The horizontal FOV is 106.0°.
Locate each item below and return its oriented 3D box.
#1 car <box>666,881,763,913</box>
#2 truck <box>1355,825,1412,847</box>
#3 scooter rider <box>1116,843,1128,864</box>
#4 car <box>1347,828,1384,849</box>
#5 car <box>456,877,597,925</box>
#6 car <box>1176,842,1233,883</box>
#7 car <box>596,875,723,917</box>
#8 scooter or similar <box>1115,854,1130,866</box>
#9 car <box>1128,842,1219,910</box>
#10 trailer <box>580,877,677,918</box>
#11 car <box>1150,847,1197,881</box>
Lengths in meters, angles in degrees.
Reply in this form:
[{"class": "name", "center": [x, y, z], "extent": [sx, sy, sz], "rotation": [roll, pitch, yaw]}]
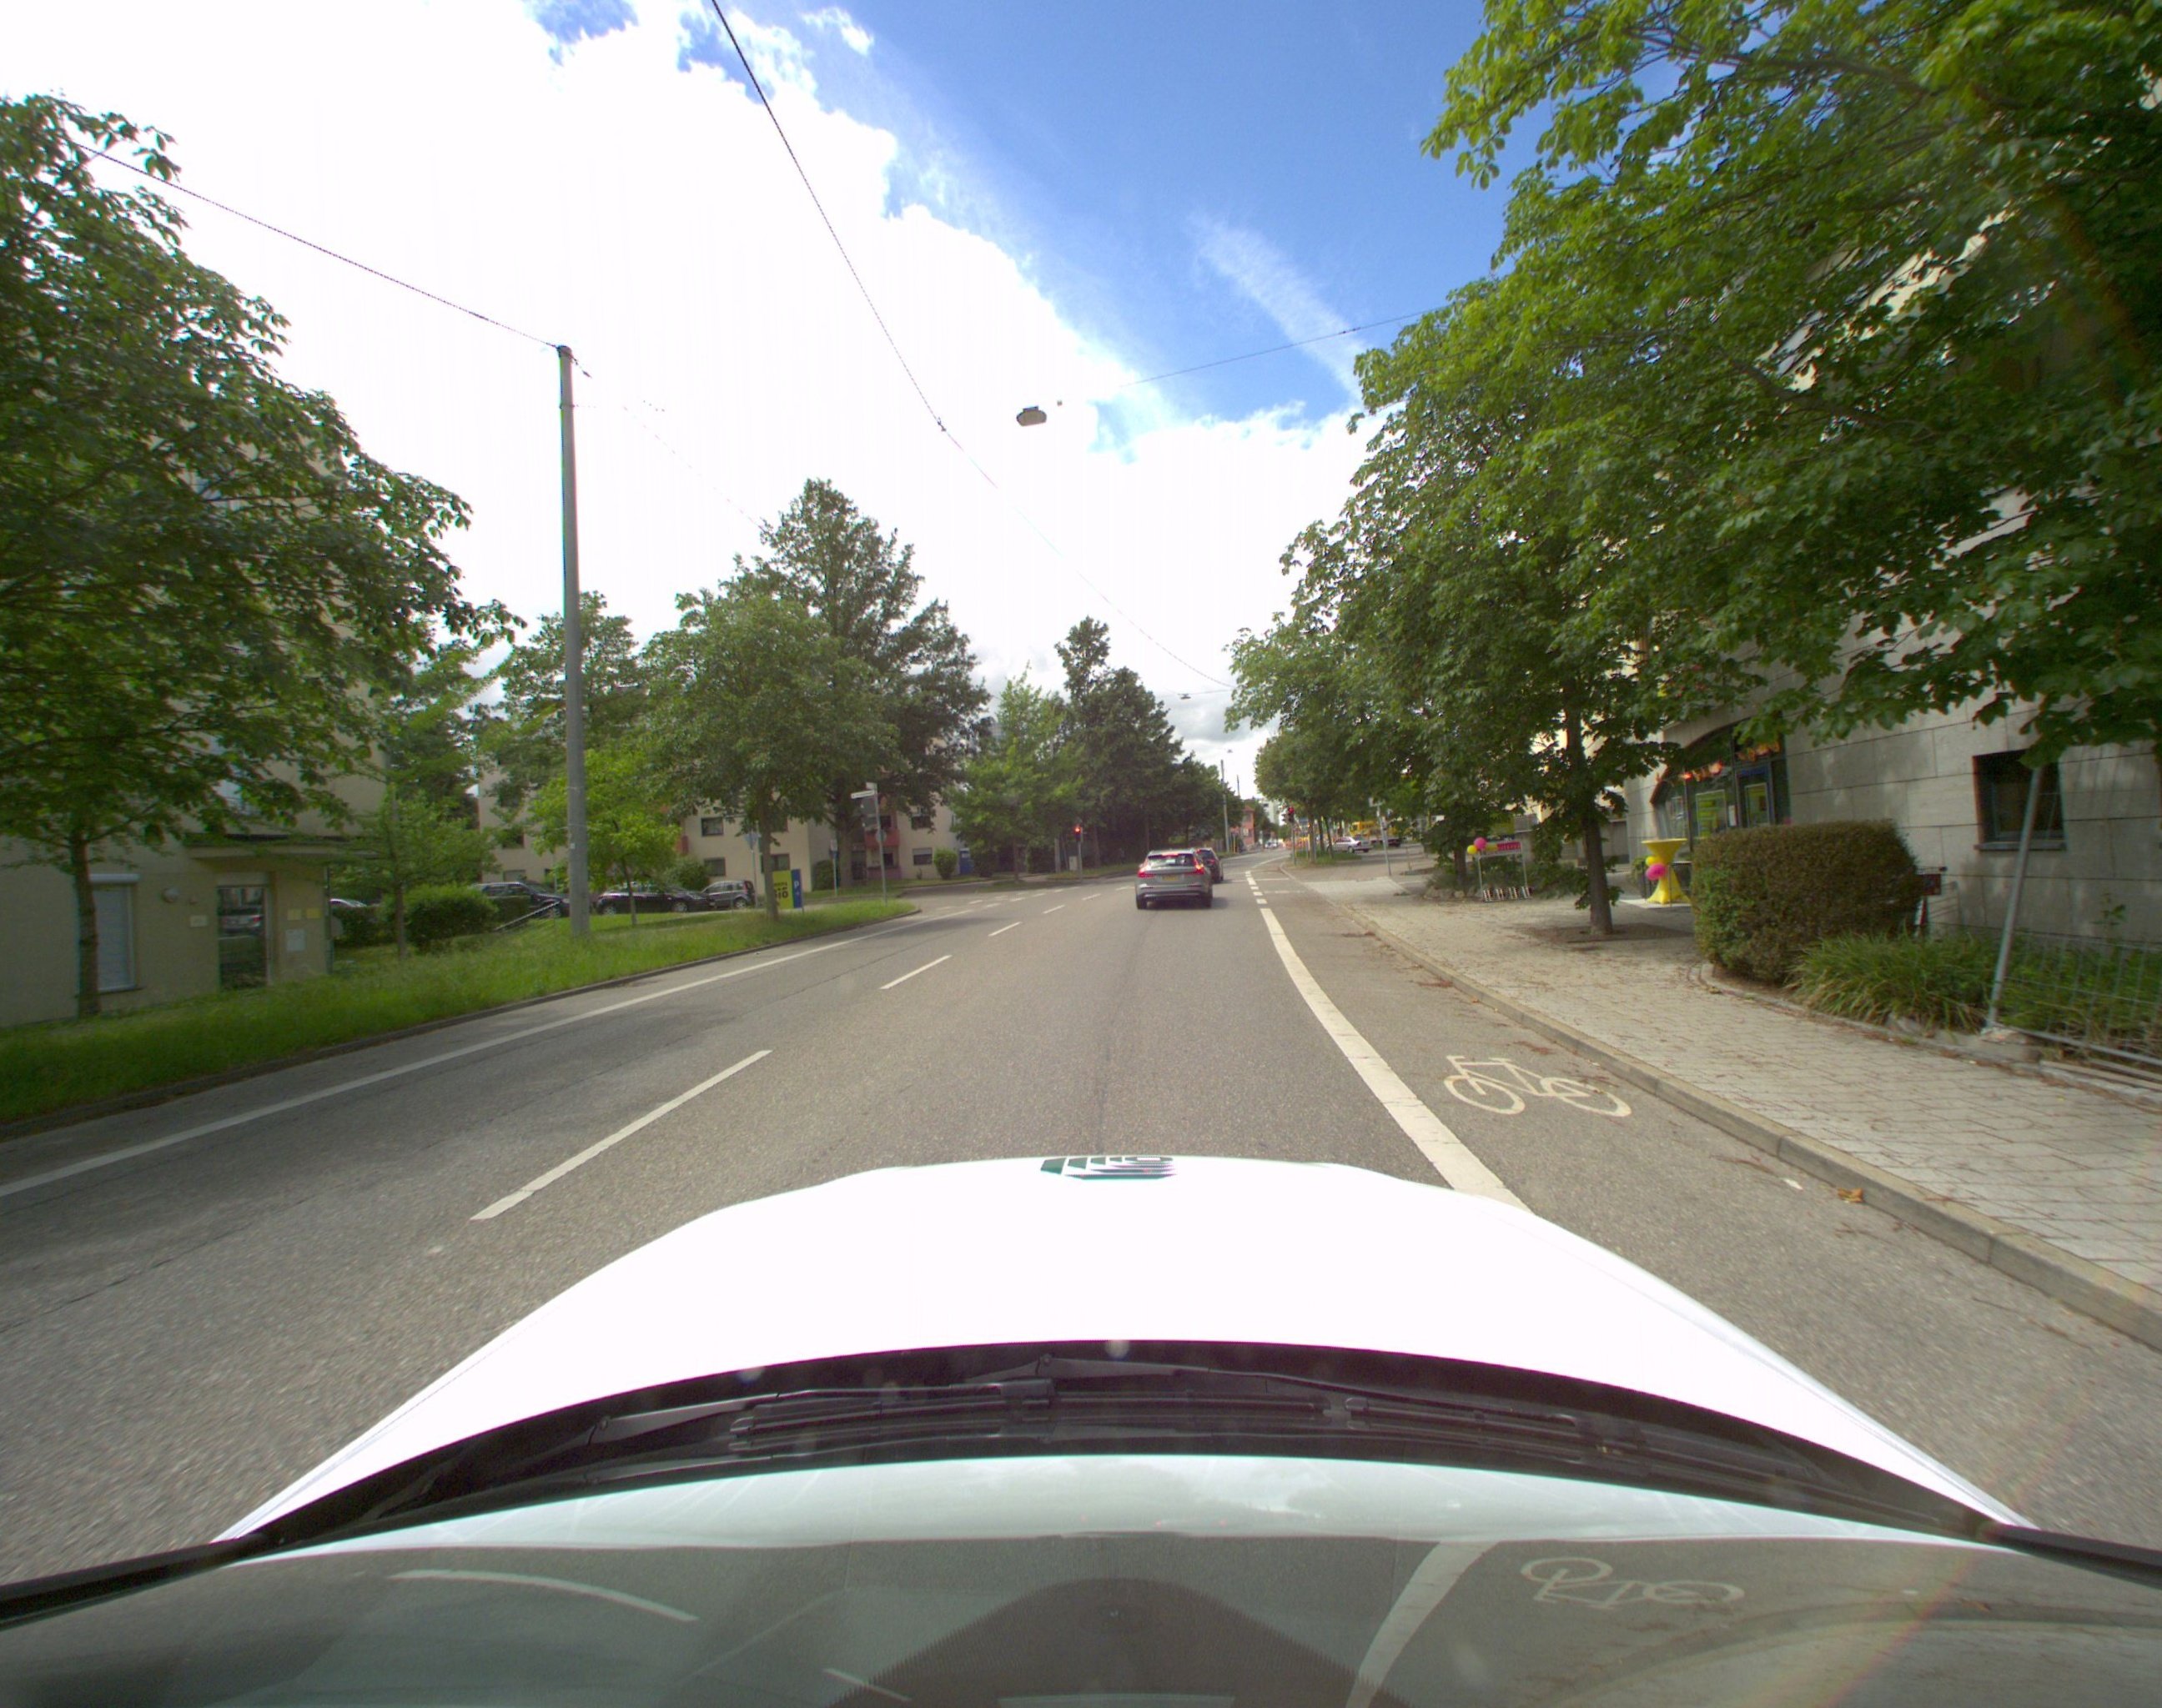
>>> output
[{"class": "car", "center": [-18.503, 2.207, 41.268], "extent": [4.068, 1.400, 1.792], "rotation": [-3, -4, -3]}, {"class": "truck", "center": [30.864, -1.862, 83.013], "extent": [5.627, 2.014, 2.071], "rotation": [-2, -1, -27]}, {"class": "scooter rider", "center": [3.483, -0.054, 69.206], "extent": [0.709, 1.727, 0.674], "rotation": [-2, -1, -28]}, {"class": "car", "center": [30.817, -1.679, 88.199], "extent": [3.779, 2.014, 1.726], "rotation": [-2, -1, -31]}, {"class": "car", "center": [-21.929, 1.844, 32.346], "extent": [4.166, 1.523, 1.899], "rotation": [-4, 0, -3]}, {"class": "car", "center": [5.081, 0.297, 33.173], "extent": [1.791, 1.523, 4.347], "rotation": [0, 1, 15]}, {"class": "car", "center": [-16.749, 1.689, 32.486], "extent": [4.068, 1.400, 1.792], "rotation": [-3, -4, -3]}, {"class": "scooter or similar", "center": [3.510, 0.510, 69.193], "extent": [0.958, 0.962, 0.684], "rotation": [-3, -1, -29]}, {"class": "car", "center": [2.563, 0.499, 21.591], "extent": [1.943, 1.523, 4.343], "rotation": [-3, 0, 12]}, {"class": "trailer", "center": [-22.795, 2.208, 41.093], "extent": [3.900, 1.799, 1.627], "rotation": [-3, -4, -5]}, {"class": "car", "center": [4.768, 0.513, 41.487], "extent": [1.791, 1.616, 4.346], "rotation": [0, -1, 15]}]
